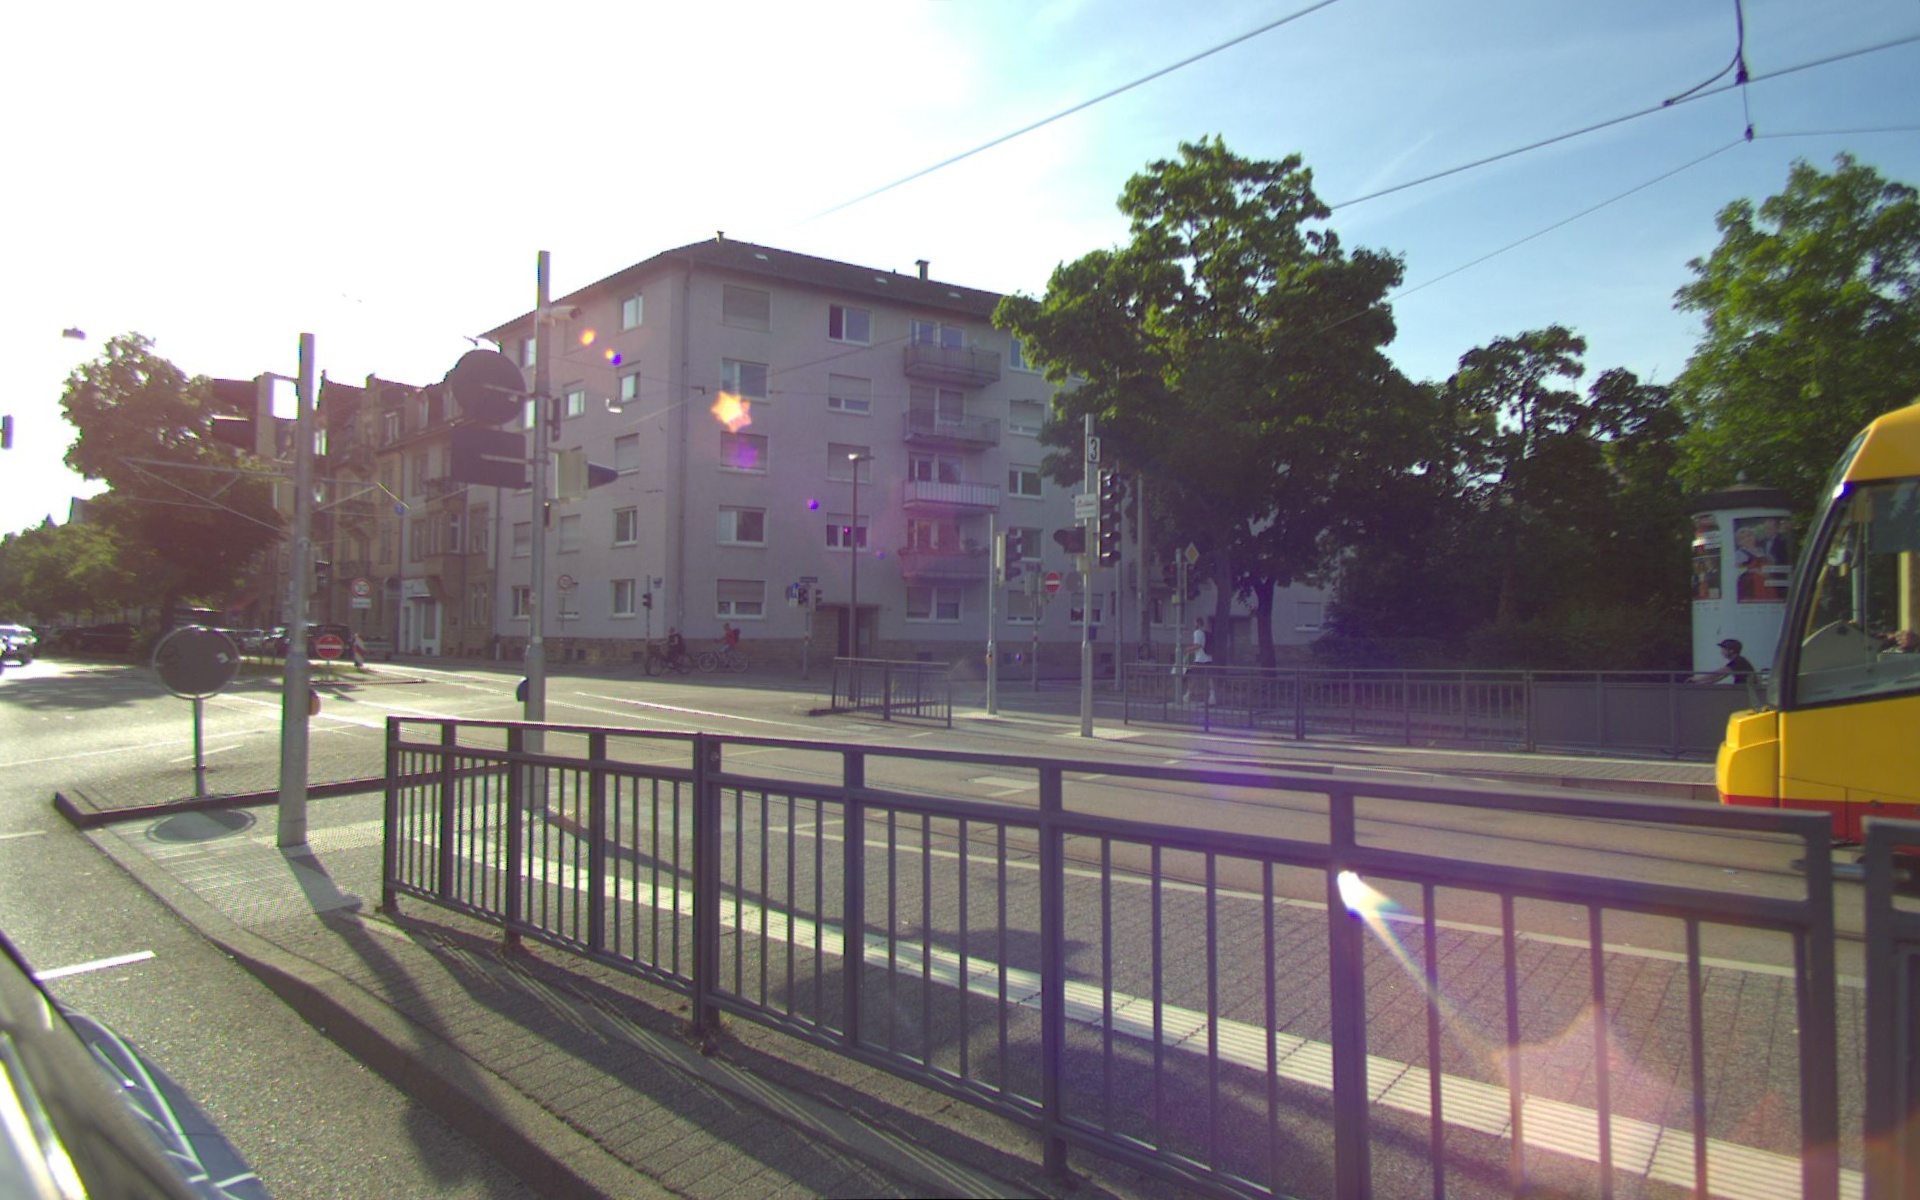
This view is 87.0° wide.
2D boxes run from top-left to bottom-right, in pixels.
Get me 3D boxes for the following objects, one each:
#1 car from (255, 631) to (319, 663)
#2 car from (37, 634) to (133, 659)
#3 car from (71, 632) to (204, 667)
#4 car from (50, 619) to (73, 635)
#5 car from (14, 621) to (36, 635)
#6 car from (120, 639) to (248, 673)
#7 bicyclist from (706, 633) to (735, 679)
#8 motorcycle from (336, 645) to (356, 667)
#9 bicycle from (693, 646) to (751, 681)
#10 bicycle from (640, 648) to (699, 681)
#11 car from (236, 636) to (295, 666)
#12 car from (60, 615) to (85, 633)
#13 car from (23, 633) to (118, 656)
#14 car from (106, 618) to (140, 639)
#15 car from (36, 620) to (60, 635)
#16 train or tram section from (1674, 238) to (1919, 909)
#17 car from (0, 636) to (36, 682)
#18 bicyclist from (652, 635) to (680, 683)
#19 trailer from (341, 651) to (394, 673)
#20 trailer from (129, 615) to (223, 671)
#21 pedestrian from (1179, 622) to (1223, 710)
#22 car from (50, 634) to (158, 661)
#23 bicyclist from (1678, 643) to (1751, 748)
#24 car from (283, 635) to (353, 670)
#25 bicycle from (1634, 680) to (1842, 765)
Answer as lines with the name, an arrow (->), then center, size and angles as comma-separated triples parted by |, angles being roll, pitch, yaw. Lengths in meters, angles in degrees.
car -> -38.982, 2.707, 58.599 | 4.612, 1.763, 2.140 | -2, -3, 44
car -> -53.233, 2.814, 61.605 | 4.205, 1.433, 1.684 | 0, -2, -7
car -> -40.788, 2.451, 50.293 | 4.645, 1.703, 2.175 | 1, -3, -6
car -> -113.890, 3.445, 128.315 | 1.970, 2.029, 4.002 | 2, -3, -45
car -> -139.495, 4.135, 151.005 | 3.998, 2.029, 1.972 | -2, -3, 41
car -> -32.573, 2.349, 42.595 | 3.887, 1.370, 1.677 | 1, -3, -13
bicyclist -> -8.762, 2.031, 36.971 | 0.839, 1.655, 0.816 | 1, -2, -28
motorcycle -> -31.288, 2.829, 51.554 | 0.626, 1.088, 1.739 | 0, -2, -24
bicycle -> -8.713, 2.301, 37.037 | 1.946, 1.212, 0.737 | 1, -2, -27
bicycle -> -10.317, 2.276, 35.896 | 1.883, 1.119, 0.737 | 2, -3, -27
car -> -42.817, 3.089, 62.386 | 4.612, 1.763, 2.140 | -2, -3, 44
car -> -105.835, 2.846, 120.687 | 1.970, 2.029, 4.002 | 2, -3, -45
car -> -58.508, 2.911, 66.629 | 4.205, 1.433, 2.175 | 0, -2, -7
car -> -82.710, 2.802, 99.995 | 3.999, 2.029, 1.972 | -2, -3, 42
car -> -123.247, 3.735, 136.734 | 3.998, 2.029, 1.972 | -2, -3, 41
train or tram section -> 10.762, -0.286, 2.429 | 14.521, 3.506, 3.129 | -2, -3, 40
car -> -35.212, 2.136, 37.049 | 1.970, 1.586, 4.003 | 1, -3, -43
bicyclist -> -10.401, 2.080, 35.834 | 0.760, 1.655, 0.797 | 2, -3, -28
trailer -> -29.253, 3.036, 49.961 | 2.879, 0.903, 1.425 | -2, 2, 42
trailer -> -34.823, 1.917, 45.034 | 2.817, 2.410, 1.728 | 0, -2, -17
pedestrian -> 5.431, 1.457, 22.823 | 0.705, 1.924, 0.996 | -2, -2, 29
car -> -48.134, 2.647, 56.991 | 4.239, 1.433, 1.962 | 0, -2, -7
bicyclist -> 10.704, 1.324, 14.353 | 0.717, 1.424, 0.643 | -2, -3, 44
car -> -34.318, 2.750, 54.031 | 4.719, 1.763, 2.140 | -2, -3, 44
bicycle -> 10.891, 1.689, 14.254 | 0.535, 1.026, 2.251 | 2, -3, -45
